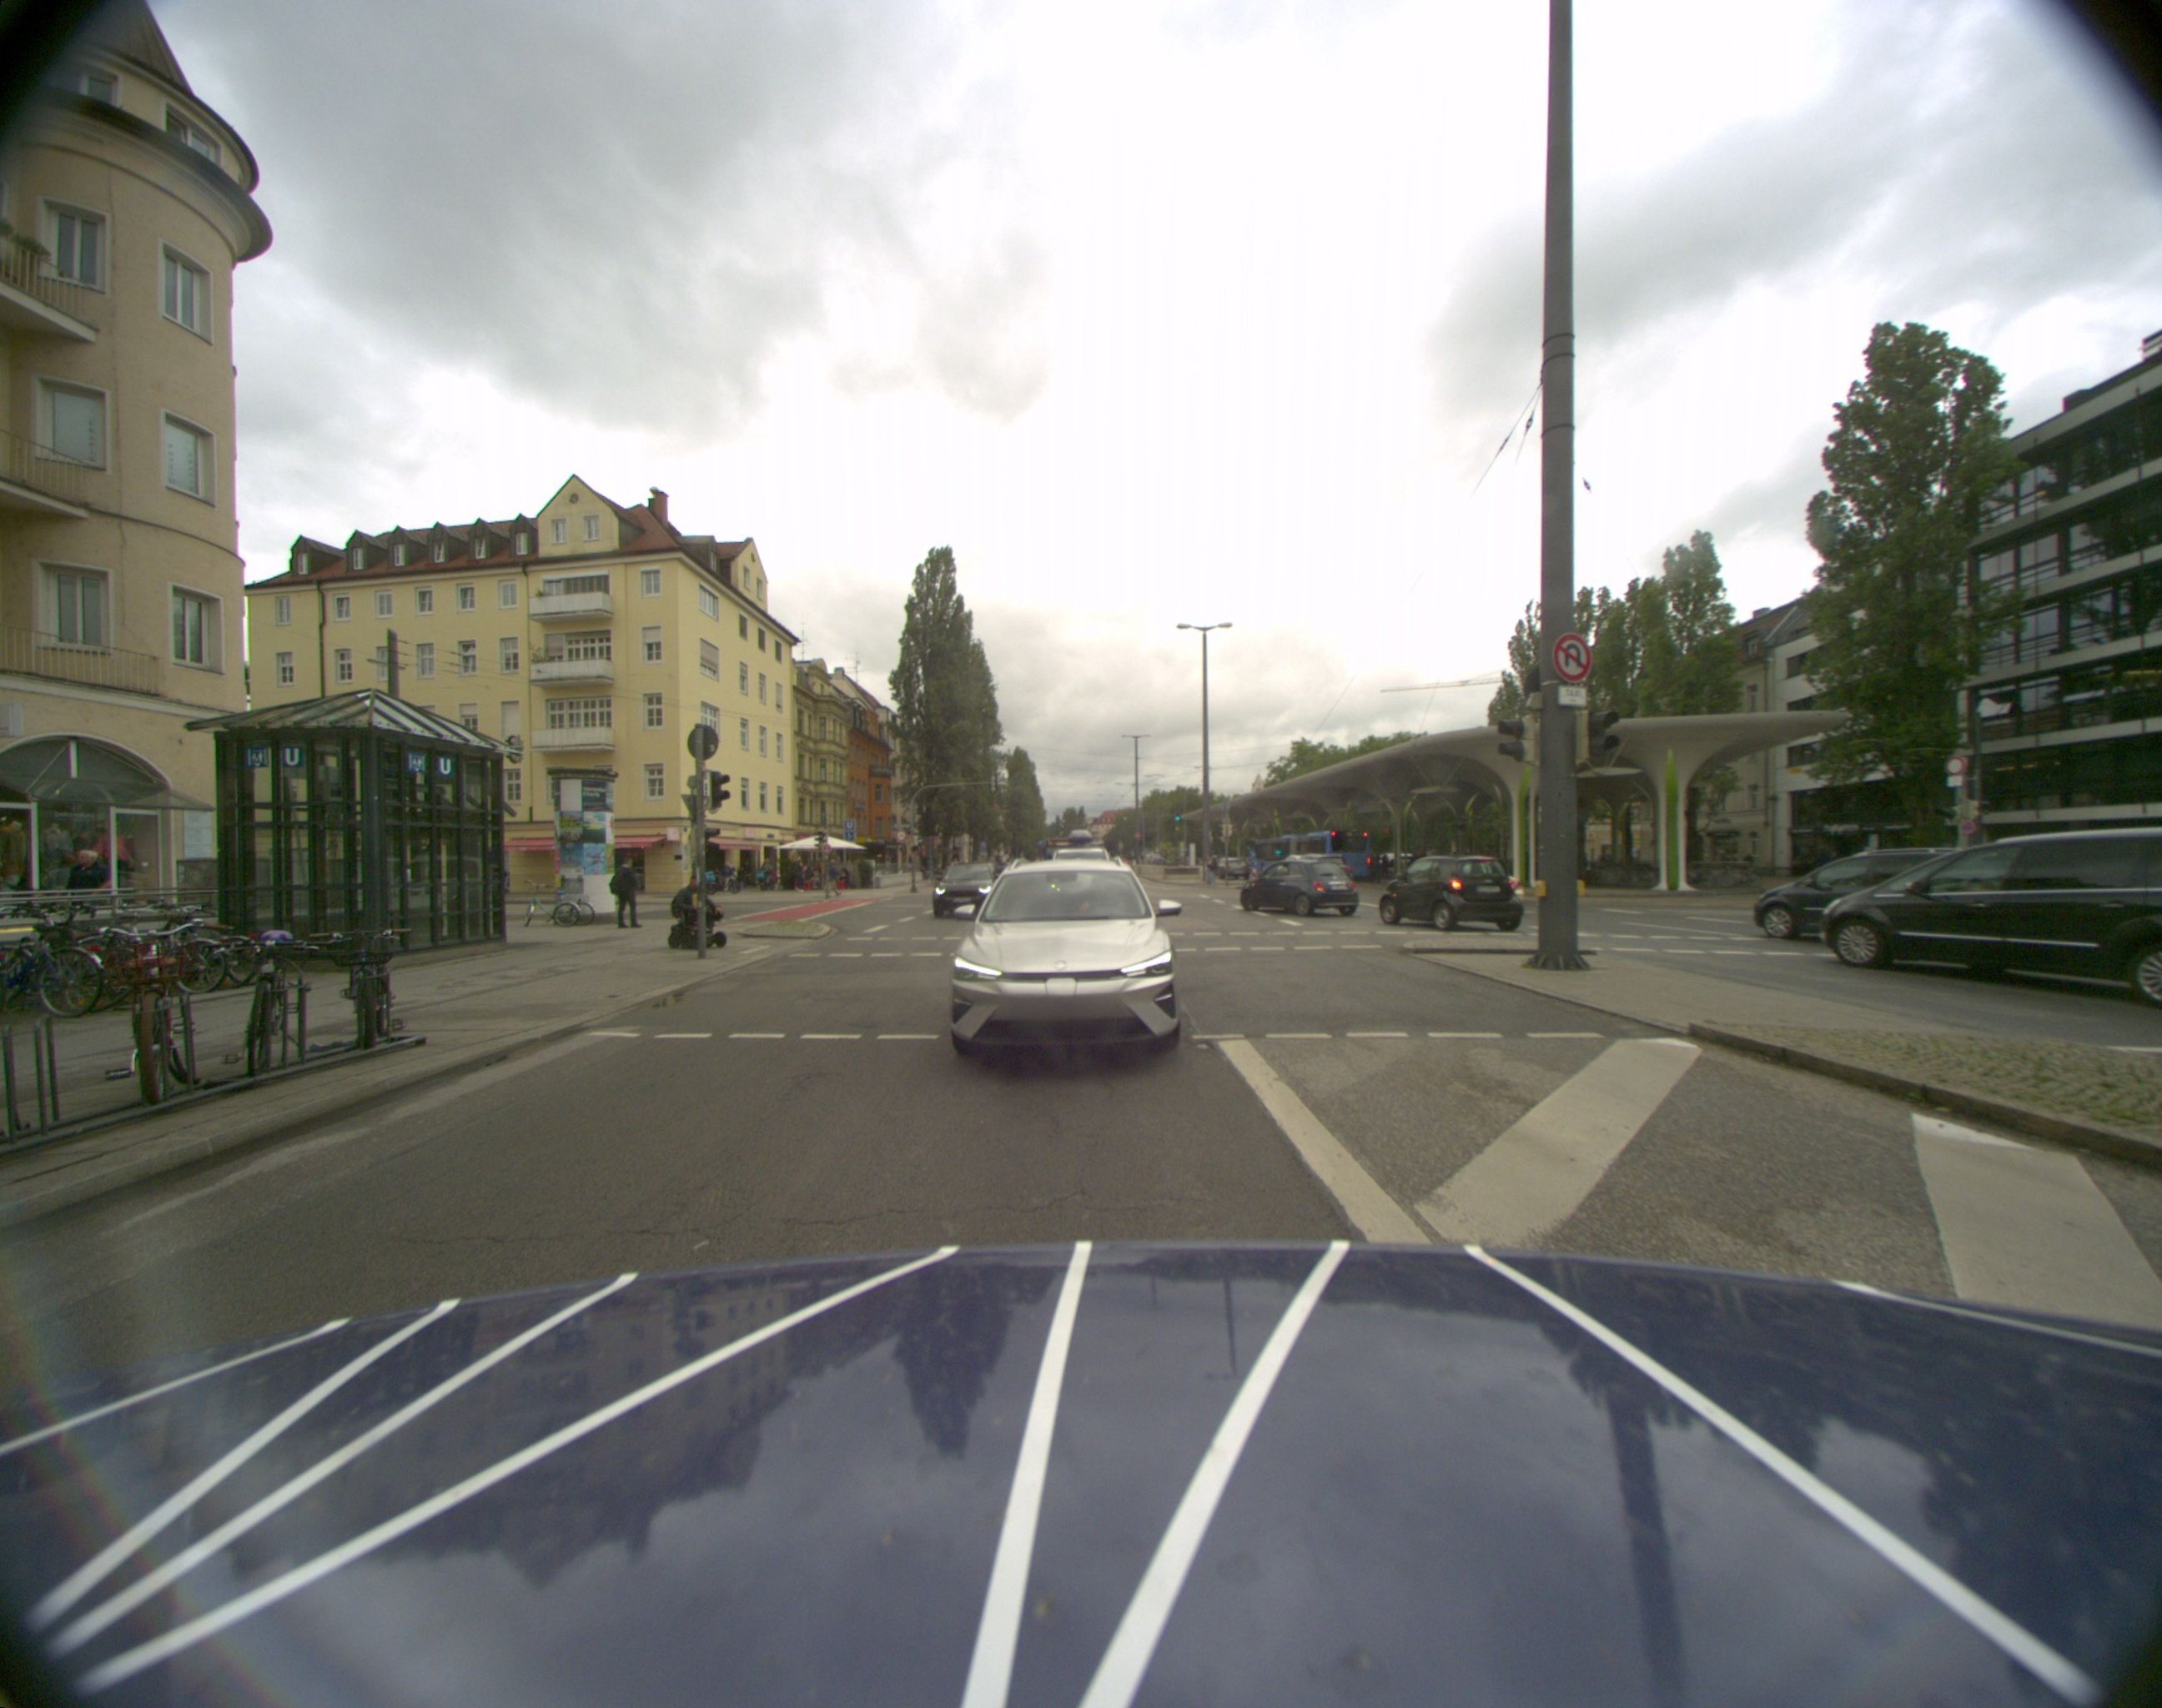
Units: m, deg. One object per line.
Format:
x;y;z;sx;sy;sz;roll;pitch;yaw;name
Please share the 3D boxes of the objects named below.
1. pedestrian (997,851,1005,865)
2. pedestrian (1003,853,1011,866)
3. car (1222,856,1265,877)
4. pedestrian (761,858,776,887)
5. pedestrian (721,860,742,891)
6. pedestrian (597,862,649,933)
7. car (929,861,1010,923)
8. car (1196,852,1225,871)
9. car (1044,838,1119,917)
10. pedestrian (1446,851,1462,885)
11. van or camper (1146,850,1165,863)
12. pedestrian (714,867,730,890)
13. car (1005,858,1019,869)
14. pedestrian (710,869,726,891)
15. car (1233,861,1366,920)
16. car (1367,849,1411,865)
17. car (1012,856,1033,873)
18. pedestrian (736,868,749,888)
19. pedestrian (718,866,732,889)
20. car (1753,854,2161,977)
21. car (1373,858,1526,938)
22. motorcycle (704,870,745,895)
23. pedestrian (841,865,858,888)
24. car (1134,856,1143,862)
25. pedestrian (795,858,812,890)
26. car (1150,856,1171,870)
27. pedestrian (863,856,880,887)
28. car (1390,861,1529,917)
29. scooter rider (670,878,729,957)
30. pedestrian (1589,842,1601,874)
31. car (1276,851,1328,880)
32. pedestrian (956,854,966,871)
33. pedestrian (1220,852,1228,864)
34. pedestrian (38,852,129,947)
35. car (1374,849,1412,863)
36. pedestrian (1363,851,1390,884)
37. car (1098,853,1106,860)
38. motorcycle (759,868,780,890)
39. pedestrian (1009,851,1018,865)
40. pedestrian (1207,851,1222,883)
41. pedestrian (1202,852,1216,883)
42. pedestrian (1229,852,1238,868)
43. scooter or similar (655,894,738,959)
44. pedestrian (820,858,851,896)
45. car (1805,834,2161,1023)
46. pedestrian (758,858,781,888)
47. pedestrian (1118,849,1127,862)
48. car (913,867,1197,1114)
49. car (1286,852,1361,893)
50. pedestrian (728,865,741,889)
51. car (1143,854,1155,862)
-10.130;0.547;96.646;0.699;1.770;0.652;-2;0;33;pedestrian
-9.498;0.651;97.351;0.758;1.628;0.699;-1;0;-43;pedestrian
11.491;0.834;53.958;1.999;1.403;4.167;-1;0;-2;car
-18.579;1.101;45.160;0.602;1.729;0.666;-1;1;0;pedestrian
-18.749;1.161;40.807;0.712;1.623;0.786;-1;1;0;pedestrian
-11.191;1.040;18.569;0.834;1.681;0.821;0;1;37;pedestrian
-3.215;1.054;22.626;1.780;1.495;3.969;-4;1;0;car
11.289;0.638;66.424;1.787;1.652;4.000;-1;0;0;car
-0.021;0.630;22.317;1.999;2.100;3.999;-1;0;-1;car
18.850;0.694;38.405;0.548;1.710;0.615;-1;1;7;pedestrian
10.555;0.360;108.497;1.933;1.815;5.439;-1;0;-2;van or camper
-19.788;1.345;41.869;0.515;1.284;0.703;-1;1;-2;pedestrian
-10.220;1.389;112.595;1.737;1.651;4.501;0;0;-1;car
-19.619;1.410;41.019;0.515;1.175;0.703;-1;1;-2;pedestrian
5.825;0.920;20.656;1.552;1.437;3.532;1;-1;-24;car
39.122;0.387;96.557;4.923;1.936;1.872;-1;0;10;car
-5.793;1.050;75.307;1.780;1.515;3.969;-1;1;0;car
-19.519;1.375;43.817;0.479;1.159;0.527;-1;1;-2;pedestrian
-19.998;1.324;42.671;0.479;1.291;0.527;-1;1;-2;pedestrian
13.621;0.819;12.239;1.843;1.604;4.257;-1;0;0;car
7.676;0.847;16.082;1.508;1.525;2.834;0;0;-12;car
-17.834;1.414;38.030;1.769;1.193;0.541;-1;1;-30;motorcycle
-13.160;1.280;43.150;0.679;1.303;0.796;-1;1;0;pedestrian
13.380;1.120;177.055;1.893;1.521;4.000;0;0;0;car
-14.674;1.059;40.226;0.762;1.685;0.766;-1;1;-25;pedestrian
9.035;1.015;86.663;1.669;1.499;4.281;3;-1;-2;car
-11.972;0.980;43.458;0.884;1.733;0.857;-1;1;-16;pedestrian
10.838;0.936;22.180;1.769;1.413;4.639;-1;0;1;car
-6.949;1.133;13.841;0.641;1.380;0.704;1;0;30;scooter rider
30.339;0.230;44.856;0.484;1.921;0.422;-1;1;-29;pedestrian
12.619;0.631;43.585;1.703;1.586;3.999;-1;0;-1;car
-11.106;0.784;70.582;0.762;1.553;0.763;-1;0;1;pedestrian
19.362;0.534;102.640;0.739;1.619;0.741;-1;1;-21;pedestrian
-18.389;0.825;14.022;0.746;1.695;0.682;-1;0;2;pedestrian
38.356;0.232;93.378;3.994;1.606;1.832;-1;0;8;car
15.247;0.675;39.215;0.975;1.671;0.839;-1;1;-28;pedestrian
5.313;0.668;193.862;1.791;1.844;4.217;0;0;-3;car
-17.179;1.388;41.909;0.487;1.149;1.571;-1;0;0;motorcycle
-8.767;0.524;98.406;0.881;1.791;0.757;-2;0;10;pedestrian
6.844;0.676;38.832;0.488;1.609;0.556;-1;1;-35;pedestrian
6.600;0.688;39.162;0.520;1.609;0.465;0;1;43;pedestrian
17.663;0.639;87.887;0.667;1.828;0.808;-1;1;-30;pedestrian
-7.003;1.295;13.842;1.253;1.069;0.779;1;0;30;scooter or similar
-11.599;1.076;35.928;0.935;1.745;1.066;-1;0;12;pedestrian
10.872;0.694;8.105;1.941;1.728;4.588;1;0;1;car
-17.721;1.084;43.255;1.041;1.673;0.836;-1;1;-34;pedestrian
5.496;0.200;100.347;0.862;1.801;0.895;-3;2;-33;pedestrian
-0.129;0.929;7.397;1.812;1.496;4.952;-1;0;1;car
10.643;0.776;33.705;1.748;1.660;4.731;0;0;-1;car
-19.474;1.291;42.732;0.479;1.291;0.527;-1;1;-2;pedestrian
13.943;0.785;155.985;1.999;1.561;4.101;-1;0;-1;car
